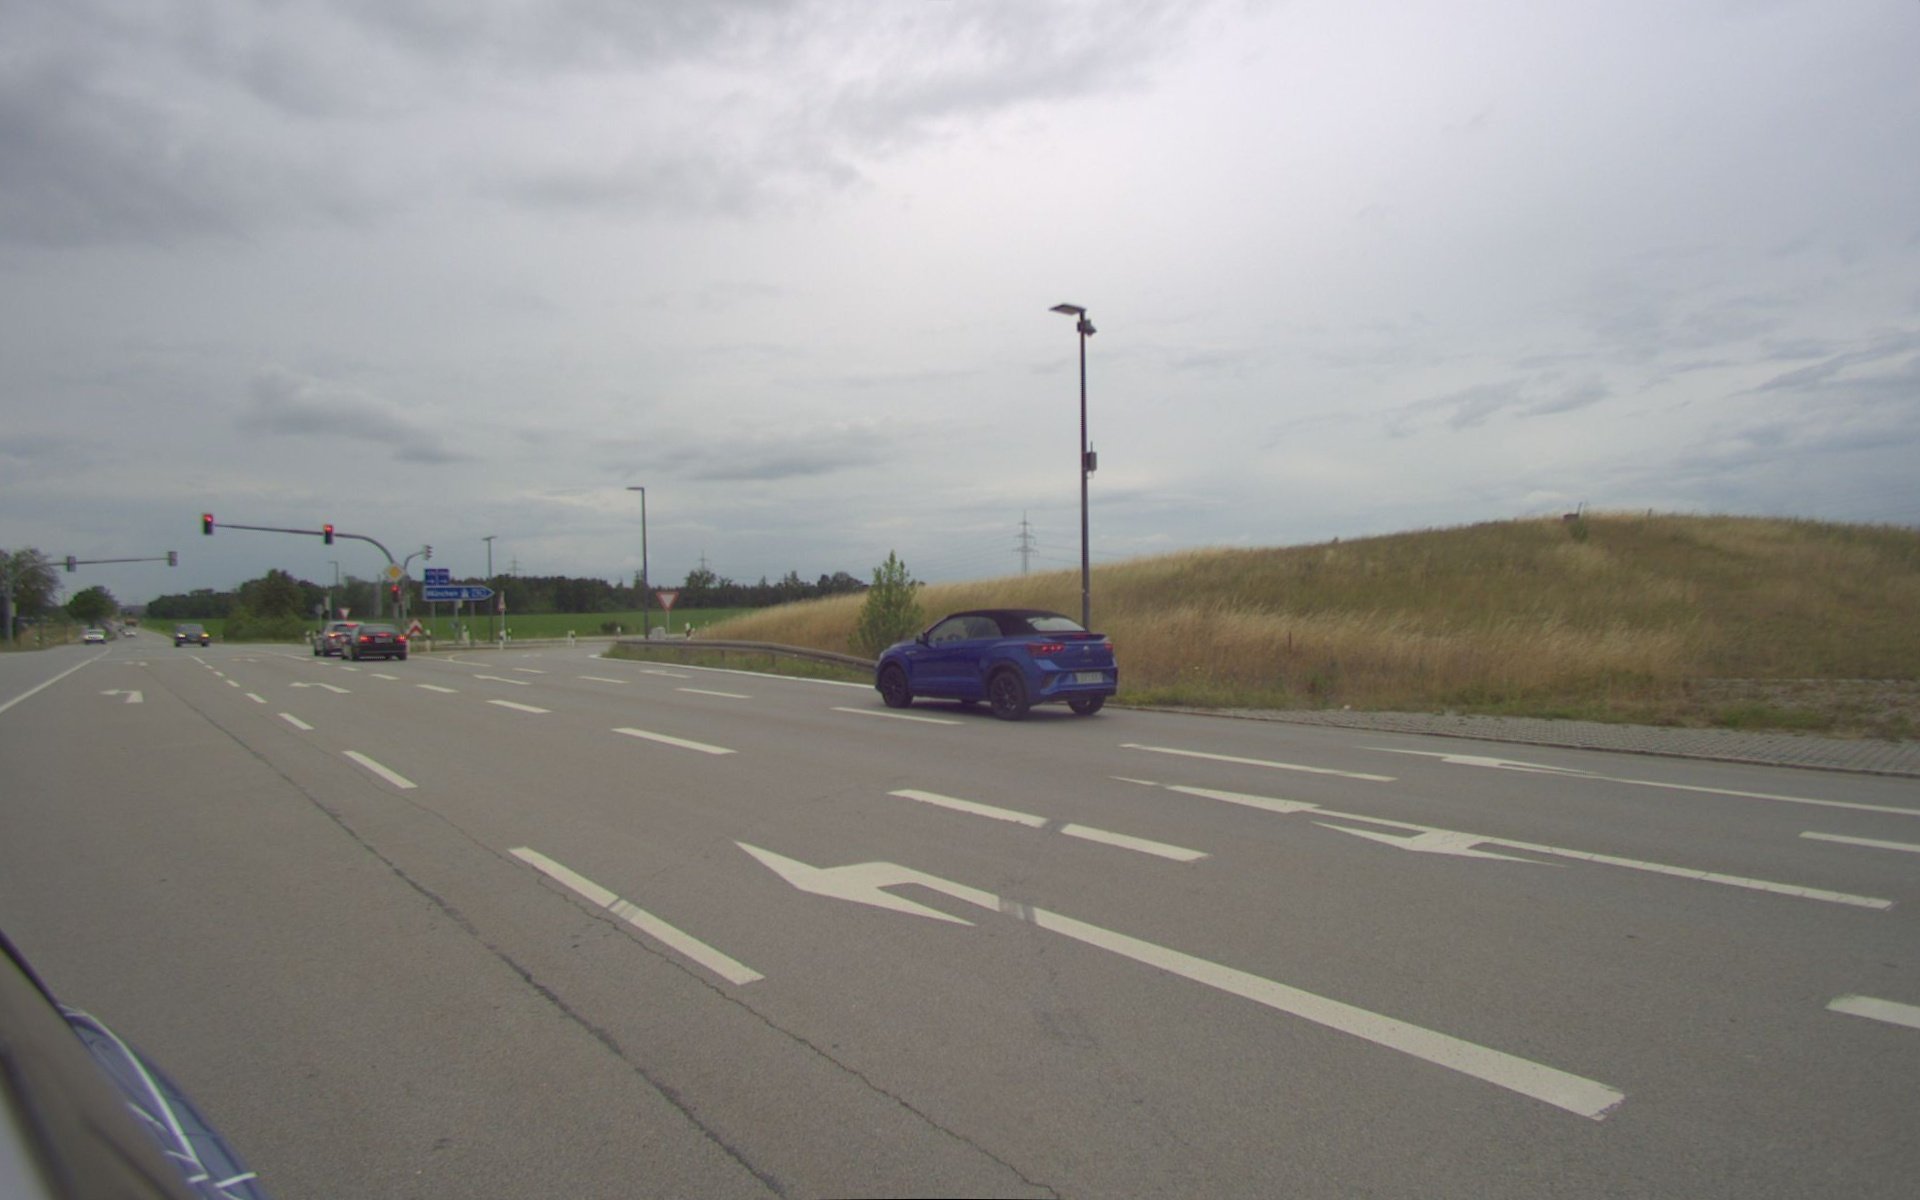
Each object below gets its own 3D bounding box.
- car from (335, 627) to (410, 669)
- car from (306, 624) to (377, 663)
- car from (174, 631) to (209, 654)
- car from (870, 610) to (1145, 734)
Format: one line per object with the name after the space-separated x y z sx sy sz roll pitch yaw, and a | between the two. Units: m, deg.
-22.289 1.774 38.301 1.686 1.421 4.682 0 -1 -40 | car
-26.882 1.874 43.913 1.890 1.623 4.957 2 -3 -40 | car
-59.311 3.237 78.191 1.967 1.697 5.011 0 -1 -35 | car
0.592 0.948 15.040 1.776 1.562 4.005 0 -1 -42 | car
